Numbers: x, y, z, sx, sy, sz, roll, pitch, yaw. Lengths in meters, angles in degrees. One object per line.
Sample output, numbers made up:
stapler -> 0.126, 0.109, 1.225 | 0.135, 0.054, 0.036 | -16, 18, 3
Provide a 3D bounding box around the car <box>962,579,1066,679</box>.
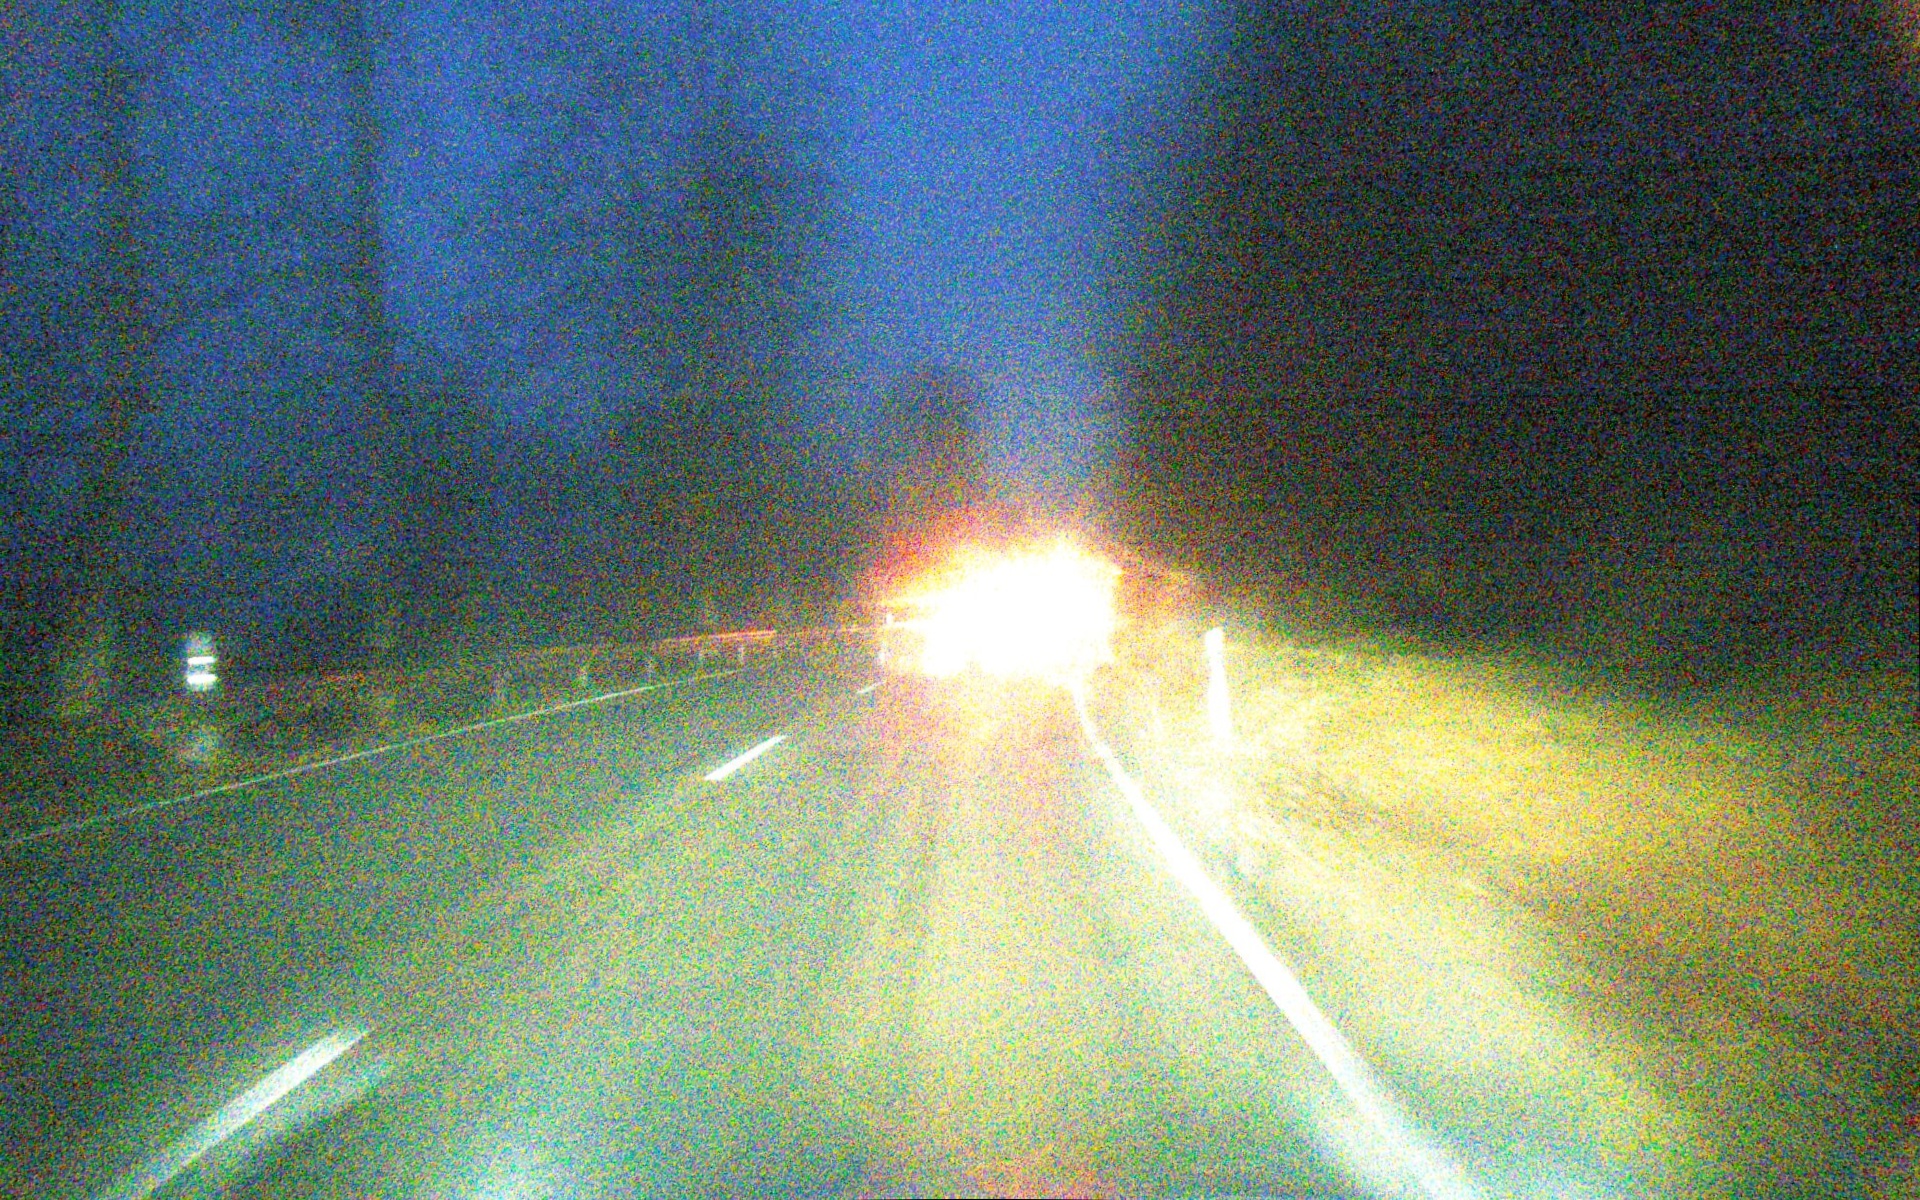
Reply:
car -> 1.109, 0.545, 34.467 | 1.952, 1.838, 3.918 | -3, 1, 1
